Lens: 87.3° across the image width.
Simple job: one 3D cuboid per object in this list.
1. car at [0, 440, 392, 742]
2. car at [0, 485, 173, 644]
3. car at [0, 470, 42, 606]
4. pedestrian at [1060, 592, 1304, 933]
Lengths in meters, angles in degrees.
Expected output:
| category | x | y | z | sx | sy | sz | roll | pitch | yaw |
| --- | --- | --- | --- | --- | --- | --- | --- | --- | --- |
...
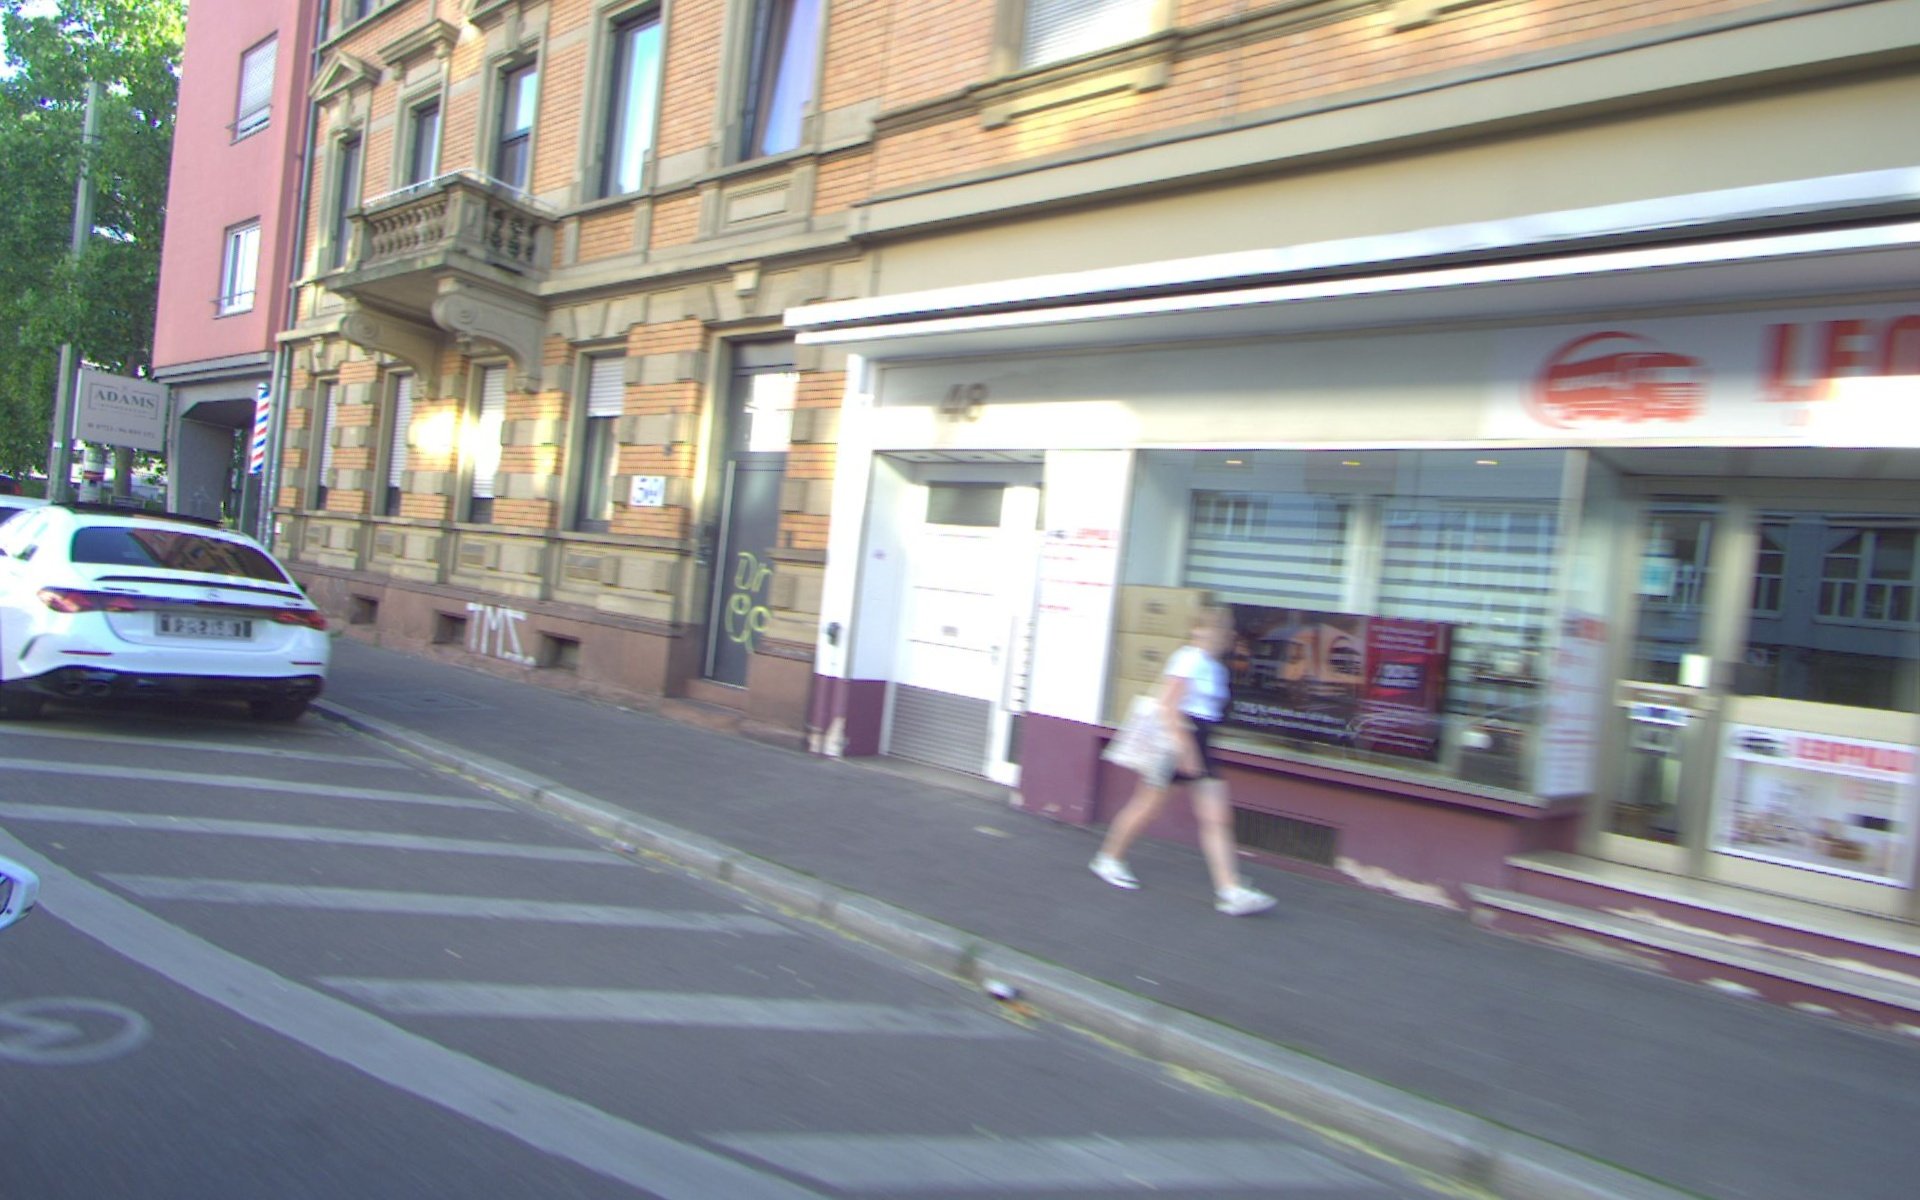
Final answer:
| category | x | y | z | sx | sy | sz | roll | pitch | yaw |
| --- | --- | --- | --- | --- | --- | --- | --- | --- | --- |
| car | -6.805 | -0.147 | 8.179 | 4.802 | 1.792 | 1.967 | 6 | -2 | 38 |
| car | -11.038 | -0.524 | 11.753 | 3.899 | 1.513 | 1.732 | 6 | -2 | 35 |
| car | -15.948 | -1.175 | 15.350 | 4.915 | 1.890 | 1.956 | 6 | -2 | 38 |
| pedestrian | 1.197 | 0.802 | 5.438 | 0.900 | 1.588 | 0.774 | 7 | 4 | 40 |
